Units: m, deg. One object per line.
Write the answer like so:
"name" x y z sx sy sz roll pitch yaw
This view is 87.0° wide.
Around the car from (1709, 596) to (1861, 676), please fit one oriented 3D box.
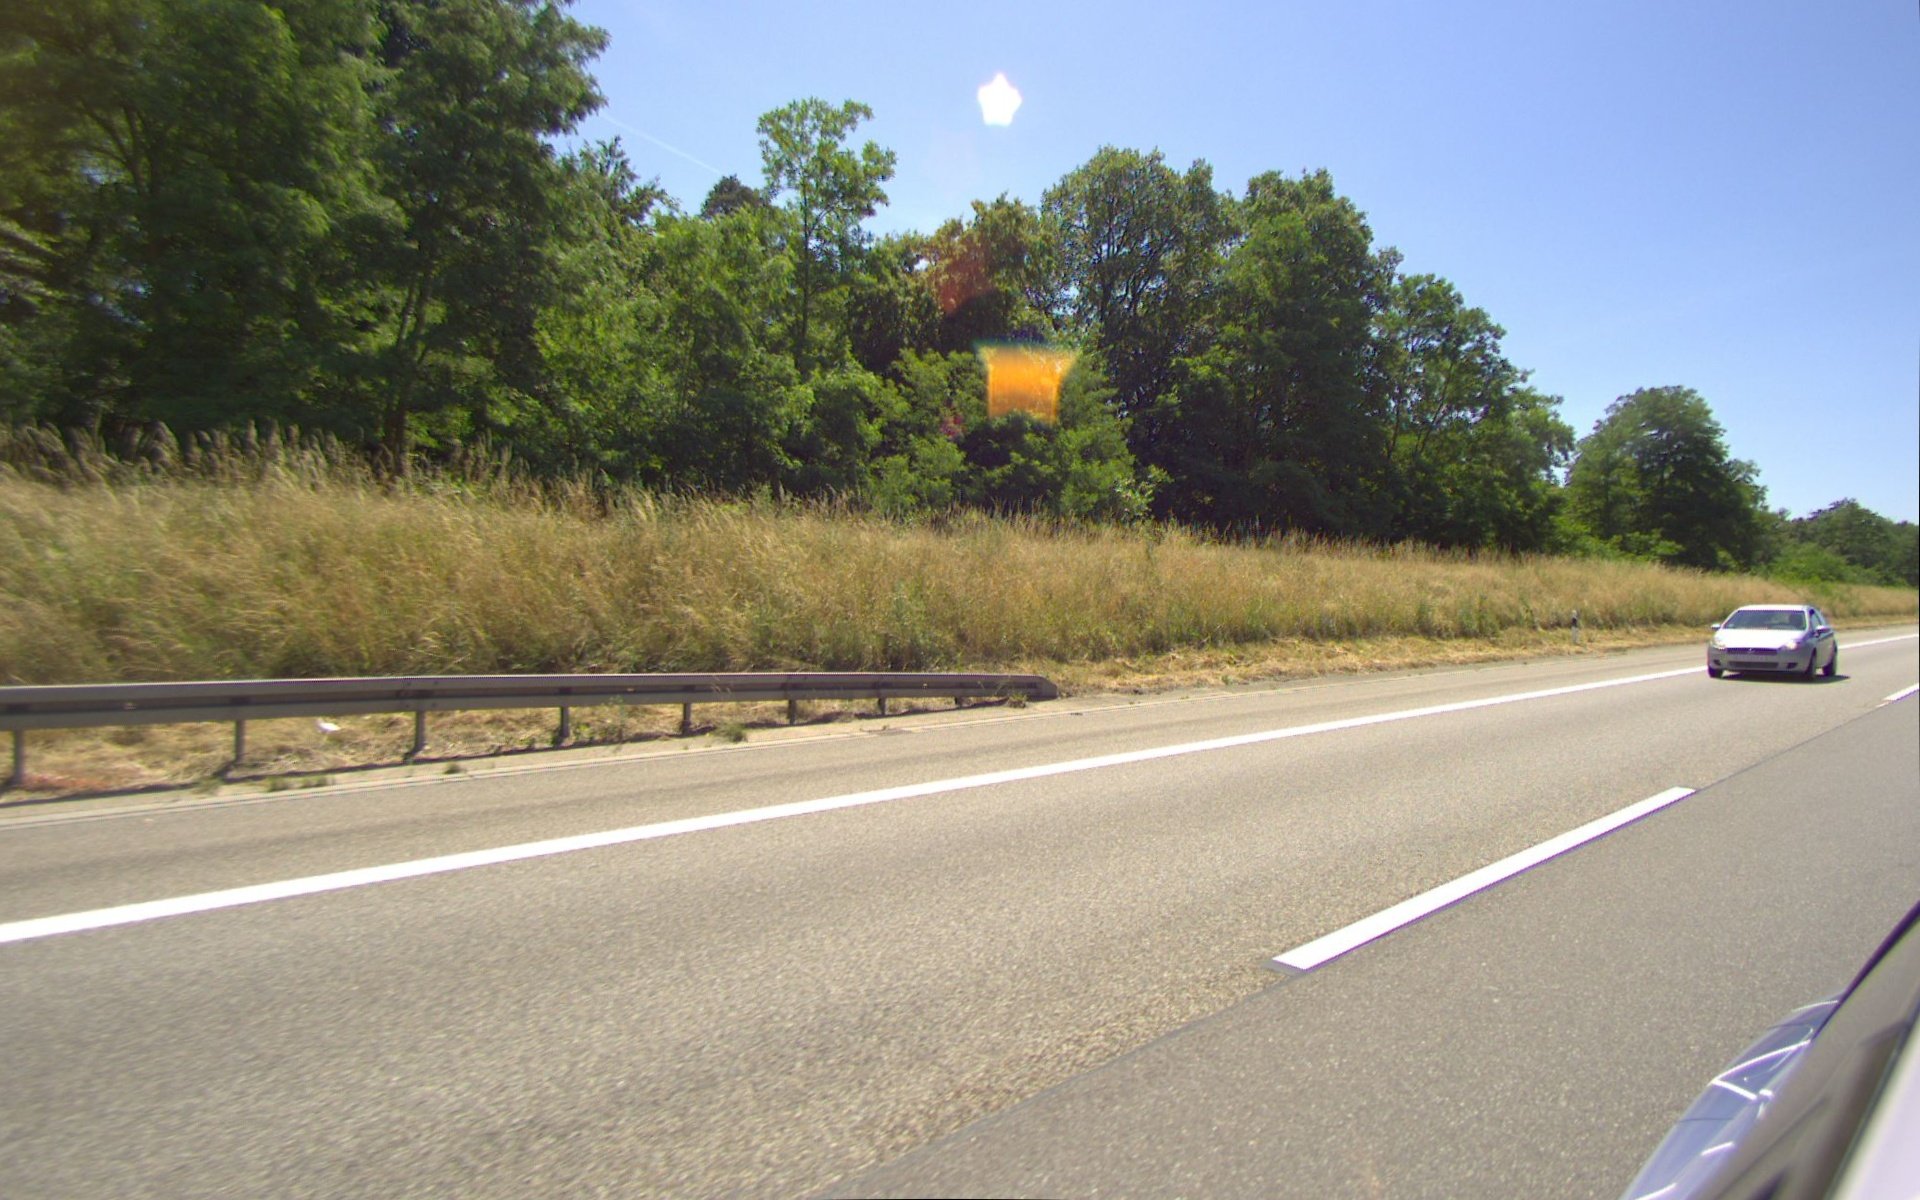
"car" 16.899 0.658 20.674 3.910 1.484 1.748 0 0 -40
